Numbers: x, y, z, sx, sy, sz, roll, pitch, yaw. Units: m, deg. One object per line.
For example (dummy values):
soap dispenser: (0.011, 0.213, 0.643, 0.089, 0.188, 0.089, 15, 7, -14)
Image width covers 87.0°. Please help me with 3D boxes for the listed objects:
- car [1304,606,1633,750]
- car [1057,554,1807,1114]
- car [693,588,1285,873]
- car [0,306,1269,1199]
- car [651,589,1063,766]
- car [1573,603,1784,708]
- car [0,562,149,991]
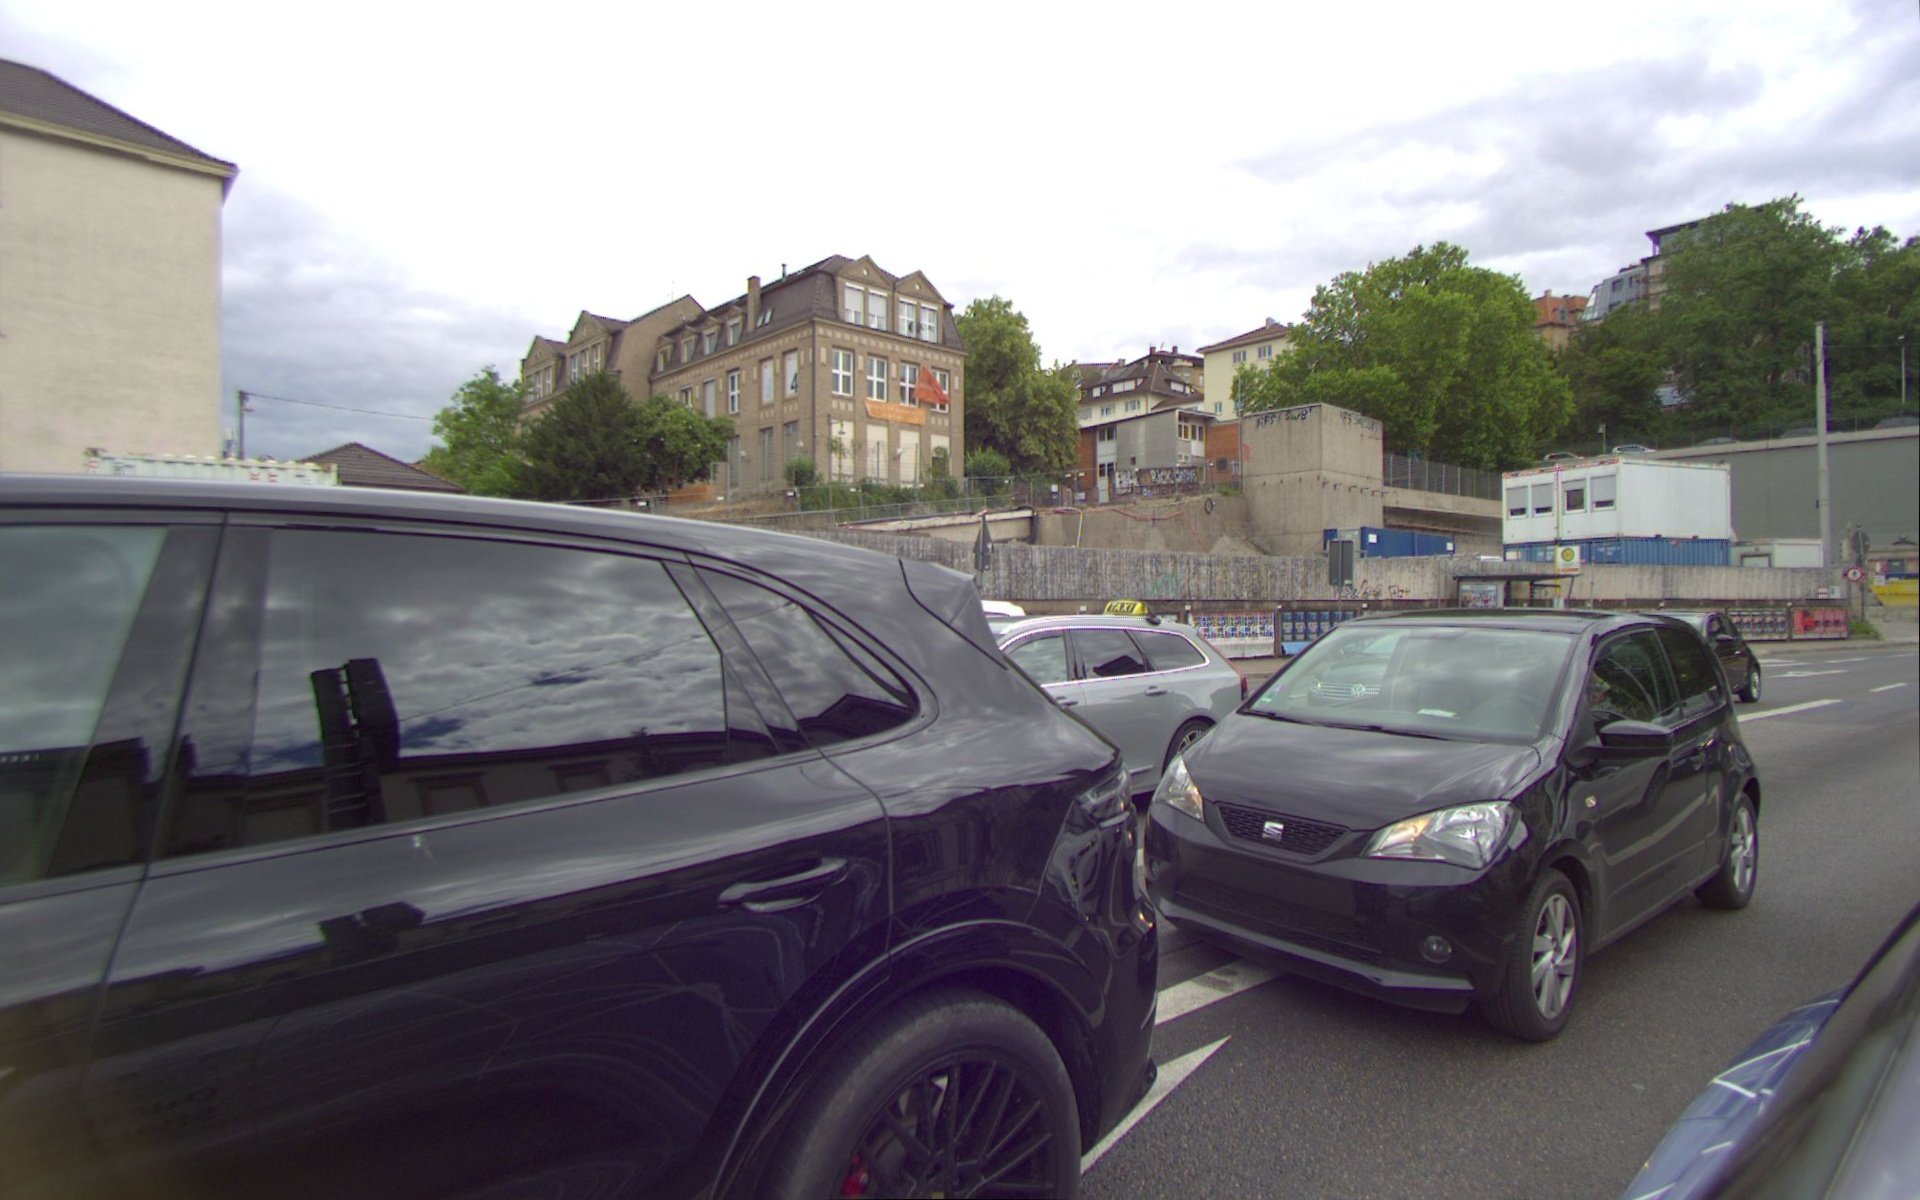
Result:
car: (6.016, 0.774, 11.799, 4.139, 1.381, 1.827, 1, 0, -38)
car: (2.405, 0.635, 4.712, 3.841, 1.575, 1.661, -1, 0, -39)
car: (0.392, 0.661, 7.333, 4.142, 1.484, 1.825, -1, 0, -40)
car: (-1.664, 0.558, 1.660, 4.497, 1.689, 1.998, -1, 0, -39)
car: (-0.946, 0.638, 10.596, 4.004, 1.484, 1.824, -1, 0, -42)
car: (11.490, 0.807, 16.114, 3.711, 1.478, 1.721, 1, -2, -38)
car: (-5.069, 0.639, 3.450, 3.581, 1.529, 1.826, -1, 0, -39)
